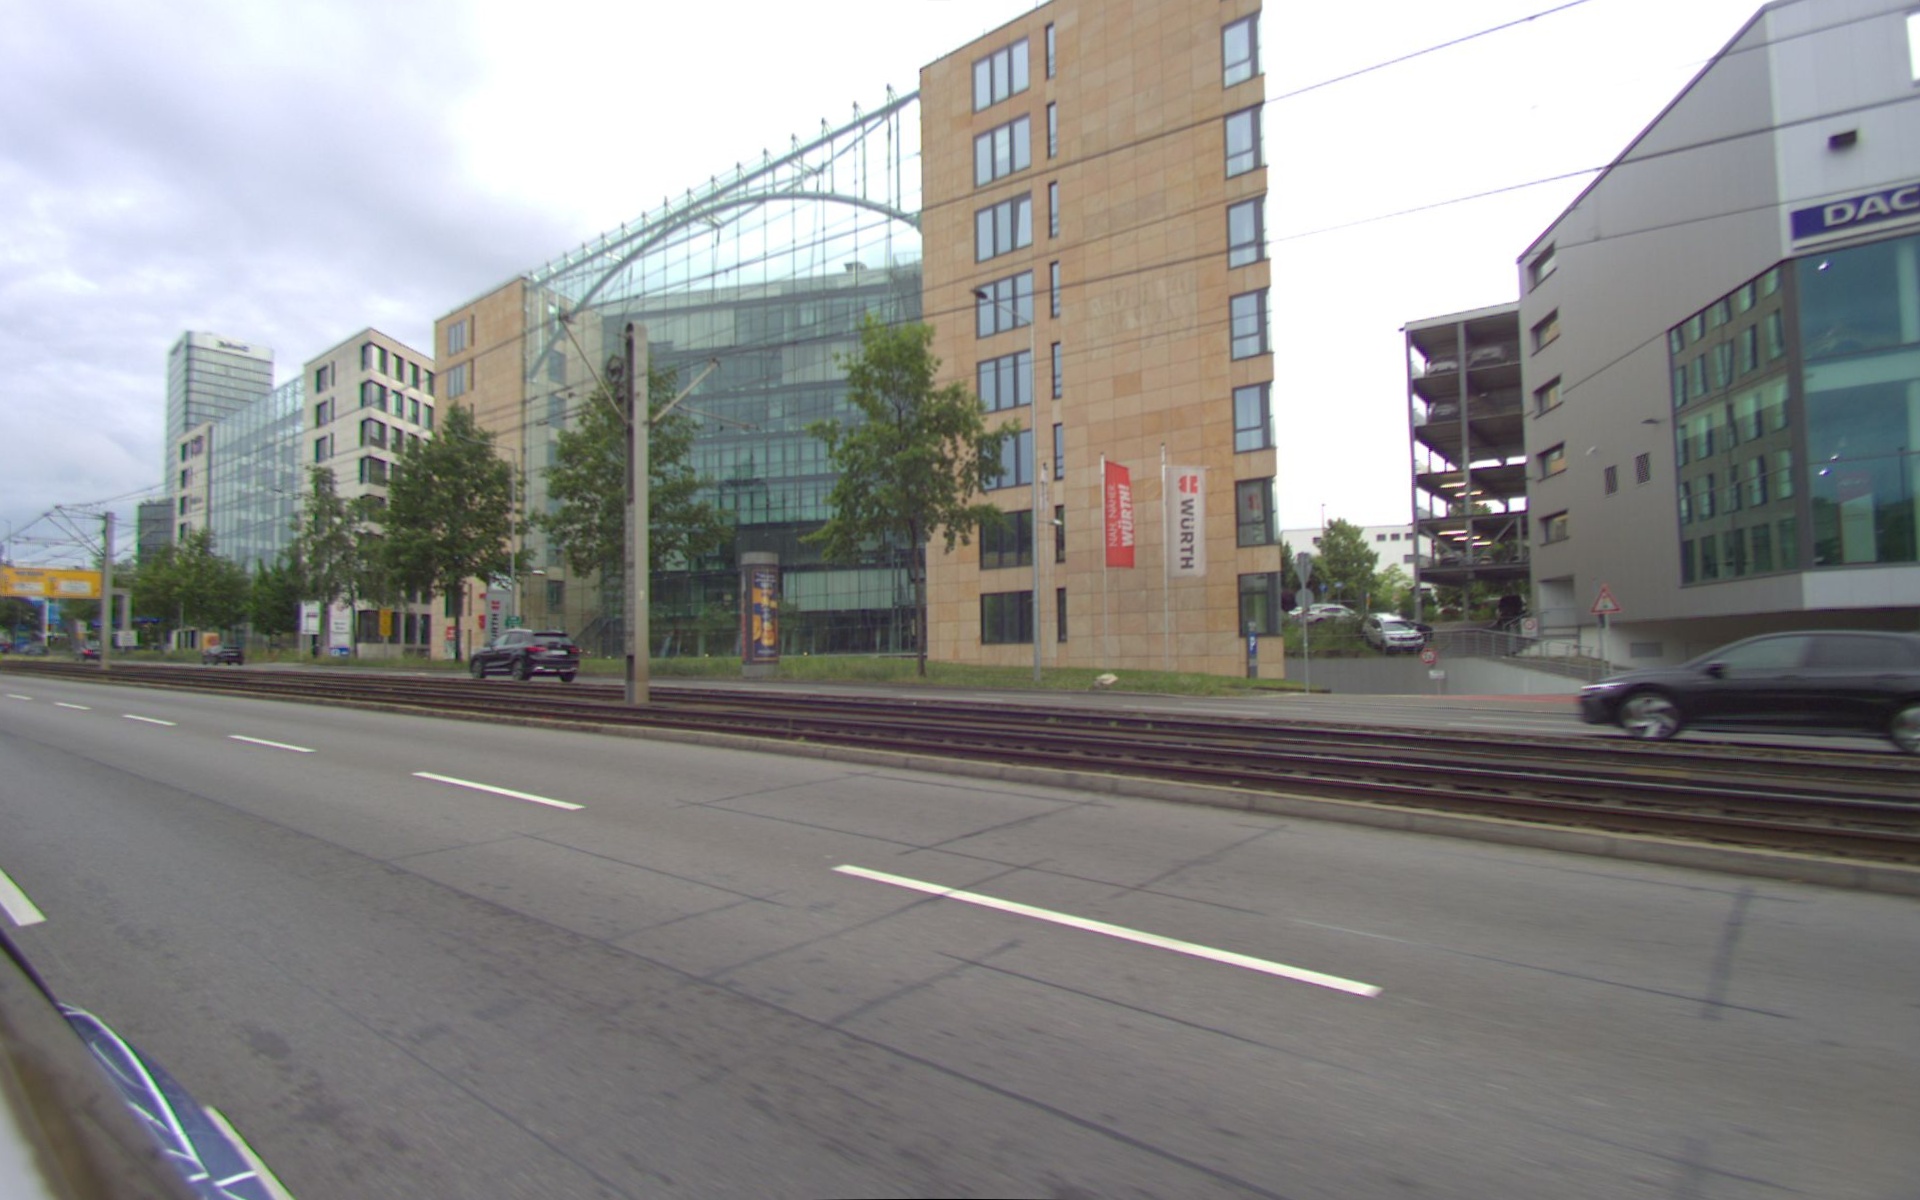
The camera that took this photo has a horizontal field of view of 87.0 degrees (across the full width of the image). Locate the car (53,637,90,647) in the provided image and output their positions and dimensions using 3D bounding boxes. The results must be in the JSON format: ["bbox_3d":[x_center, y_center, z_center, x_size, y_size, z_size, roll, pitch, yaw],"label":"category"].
[{"bbox_3d":[-146.137,6.877,166.469,1.884,1.515,4.308,0,-1,41],"label":"car"}]

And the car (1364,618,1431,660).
[{"bbox_3d":[21.719,1.888,50.385,1.860,1.908,3.993,2,0,6],"label":"car"}]

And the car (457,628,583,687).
[{"bbox_3d":[-13.826,1.754,31.731,4.380,1.628,1.788,0,-1,38],"label":"car"}]

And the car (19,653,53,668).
[{"bbox_3d":[-95.591,6.265,104.659,4.648,1.497,1.822,-3,-6,39],"label":"car"}]

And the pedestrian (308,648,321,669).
[{"bbox_3d":[-51.788,4.679,81.201,0.830,1.644,0.636,0,-1,36],"label":"pedestrian"}]

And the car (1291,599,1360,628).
[{"bbox_3d":[24.374,0.901,67.565,3.951,1.776,1.880,2,0,6],"label":"car"}]

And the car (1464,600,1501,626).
[{"bbox_3d":[36.528,0.947,70.746,1.909,1.699,3.847,2,0,32],"label":"car"}]

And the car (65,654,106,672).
[{"bbox_3d":[-76.185,5.479,88.154,4.648,1.497,1.822,-3,-6,39],"label":"car"}]

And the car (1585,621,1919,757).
[{"bbox_3d":[10.310,1.057,12.497,4.235,1.473,1.651,0,-4,40],"label":"car"}]

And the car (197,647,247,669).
[{"bbox_3d":[-53.928,4.240,73.917,4.425,1.497,1.823,-3,-6,39],"label":"car"}]

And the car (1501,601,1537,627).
[{"bbox_3d":[38.516,0.993,69.738,1.909,1.699,3.956,2,0,32],"label":"car"}]
